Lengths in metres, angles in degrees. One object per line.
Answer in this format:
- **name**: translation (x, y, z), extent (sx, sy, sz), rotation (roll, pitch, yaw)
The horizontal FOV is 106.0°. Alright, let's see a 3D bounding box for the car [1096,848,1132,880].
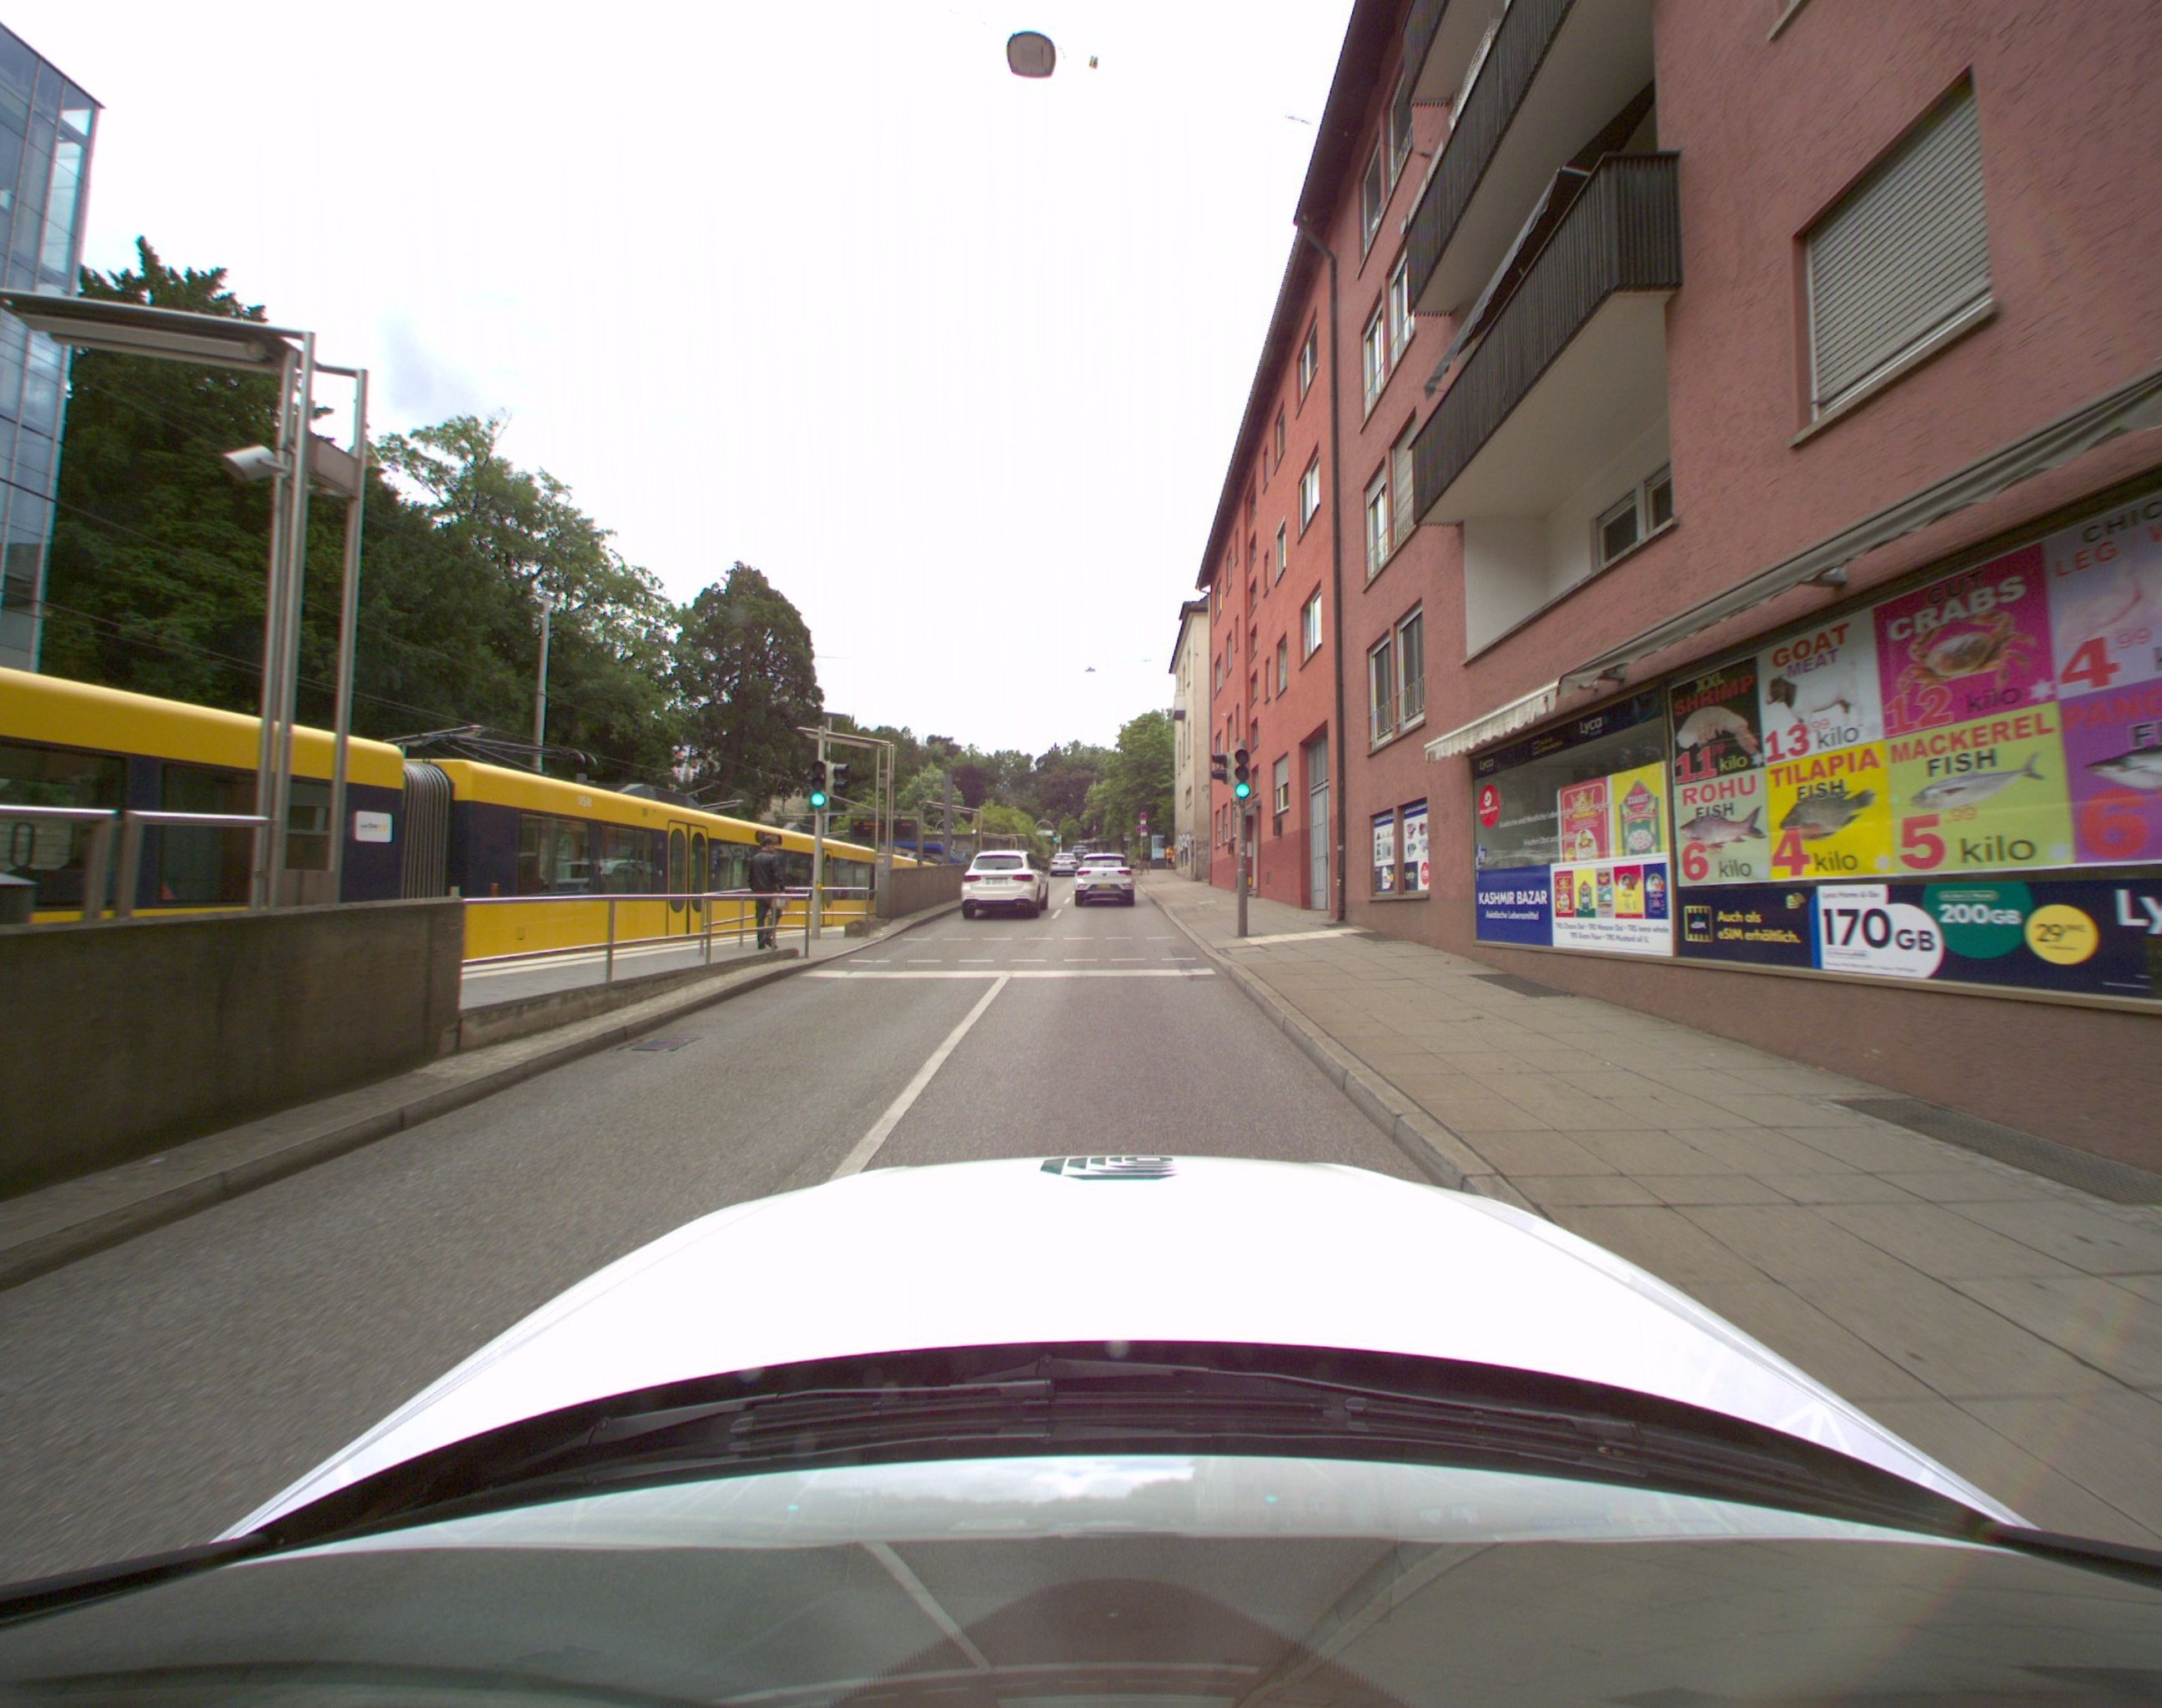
- **car**: translation (1.754, 0.490, 43.238), extent (1.853, 1.632, 3.961), rotation (0, 0, 2)

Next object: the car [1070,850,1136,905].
- **car**: translation (0.736, 0.668, 25.130), extent (1.857, 1.556, 3.898), rotation (1, 0, 3)

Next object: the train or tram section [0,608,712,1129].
- **train or tram section**: translation (-8.552, 0.305, 8.949), extent (2.938, 3.472, 12.221), rotation (0, -3, 2)

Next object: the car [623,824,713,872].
- **car**: translation (-18.749, -0.218, 37.175), extent (1.987, 2.014, 3.999), rotation (2, -1, 0)

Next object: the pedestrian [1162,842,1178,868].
- **pedestrian**: translation (6.113, 0.066, 56.030), extent (0.833, 1.712, 0.818), rotation (-1, 0, -12)

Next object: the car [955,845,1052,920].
- **car**: translation (-1.882, 0.662, 21.078), extent (1.870, 1.652, 4.344), rotation (-2, 0, 2)

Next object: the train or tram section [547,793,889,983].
- **train or tram section**: translation (-8.135, 0.849, 21.132), extent (2.938, 3.484, 12.222), rotation (0, -2, 2)

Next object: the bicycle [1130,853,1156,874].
- **bicycle**: translation (3.693, 0.593, 48.690), extent (0.641, 1.143, 2.049), rotation (-3, -2, -23)

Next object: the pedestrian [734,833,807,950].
- **pedestrian**: translation (-4.907, 0.574, 12.907), extent (0.797, 1.777, 0.819), rotation (1, 0, 2)

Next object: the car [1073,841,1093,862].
- **car**: translation (0.181, -0.251, 77.470), extent (1.743, 1.881, 4.001), rotation (1, 0, 1)

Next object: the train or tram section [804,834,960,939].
- **train or tram section**: translation (-7.607, 1.249, 33.711), extent (2.938, 3.509, 12.988), rotation (0, -2, 1)

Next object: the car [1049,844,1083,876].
- **car**: translation (-0.931, 0.358, 52.433), extent (1.986, 1.881, 4.001), rotation (1, 0, 1)
